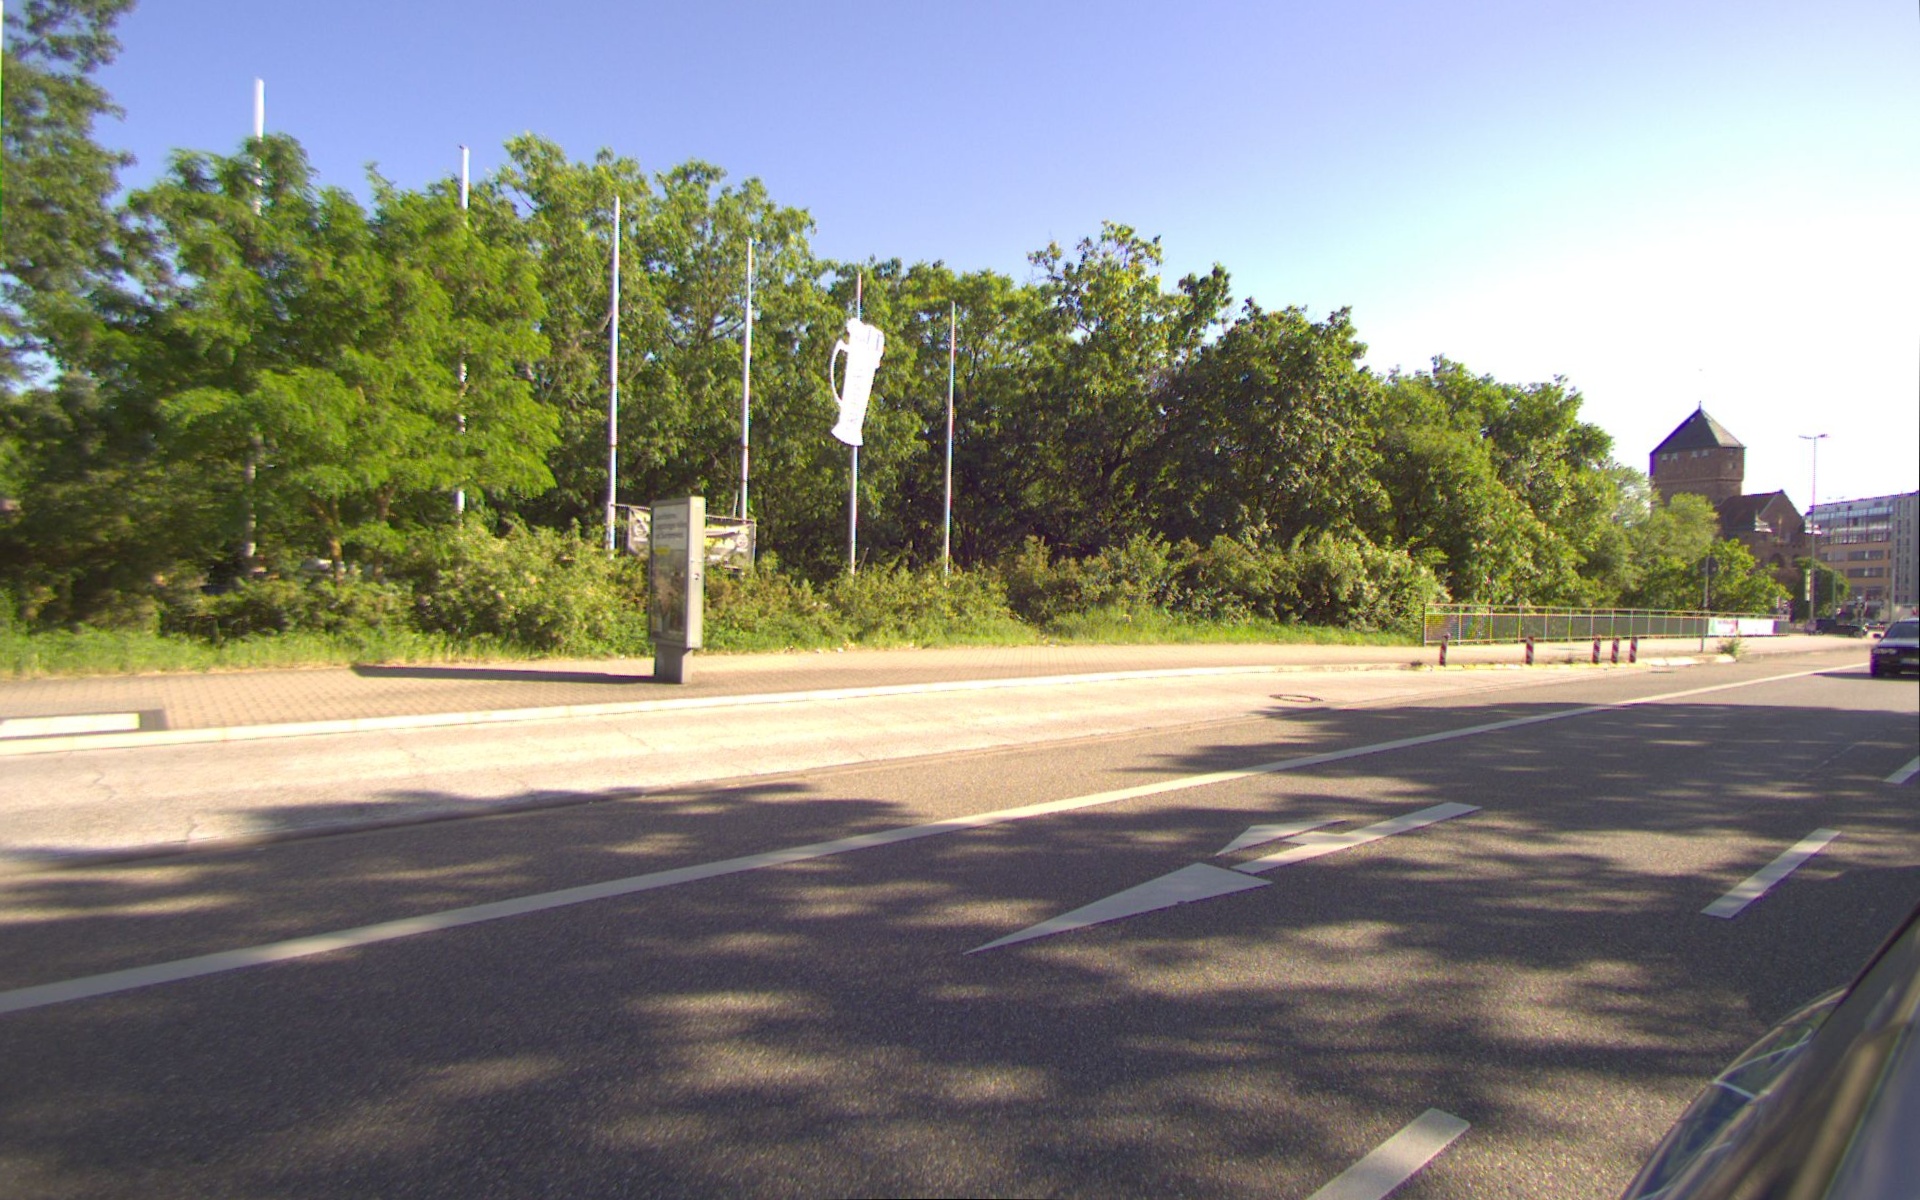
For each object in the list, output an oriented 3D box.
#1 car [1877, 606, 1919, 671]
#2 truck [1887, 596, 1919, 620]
[{"bbox_3d":[23.105,0.886,23.801,4.242,1.420,1.775,0,1,-41],"label":"car"},{"bbox_3d":[135.310,1.145,142.085,3.475,3.291,9.130,1,1,13],"label":"truck"}]
